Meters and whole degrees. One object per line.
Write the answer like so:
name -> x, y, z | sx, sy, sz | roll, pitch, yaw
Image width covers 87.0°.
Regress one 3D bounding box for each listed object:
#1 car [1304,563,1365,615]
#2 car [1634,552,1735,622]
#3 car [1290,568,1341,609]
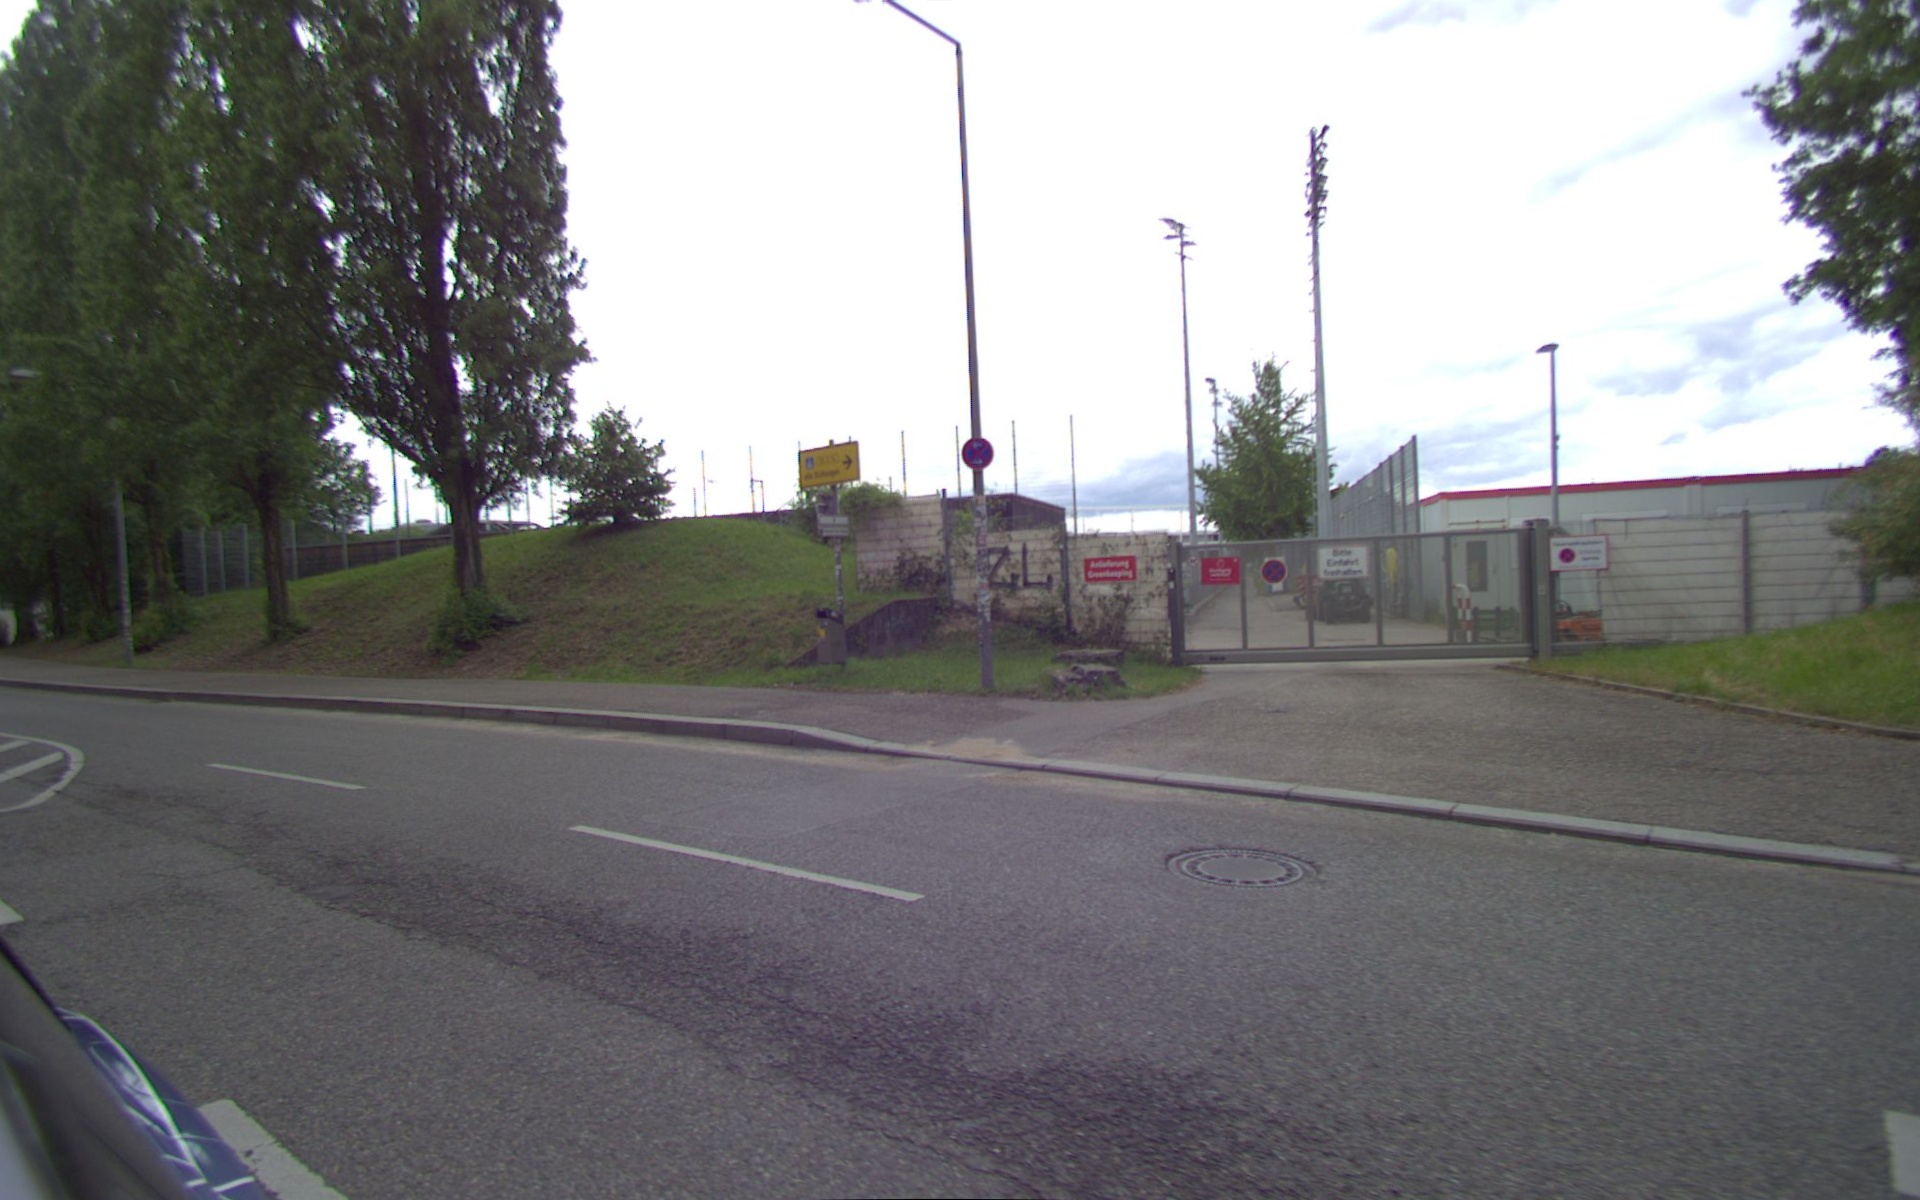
car -> 11.573, -0.325, 31.396 | 1.554, 1.491, 3.475 | -1, 0, 17
car -> 16.987, -0.294, 23.873 | 1.561, 1.491, 3.533 | -1, 0, 30
car -> 15.077, -0.473, 43.059 | 1.869, 1.643, 4.188 | -1, 0, 17
